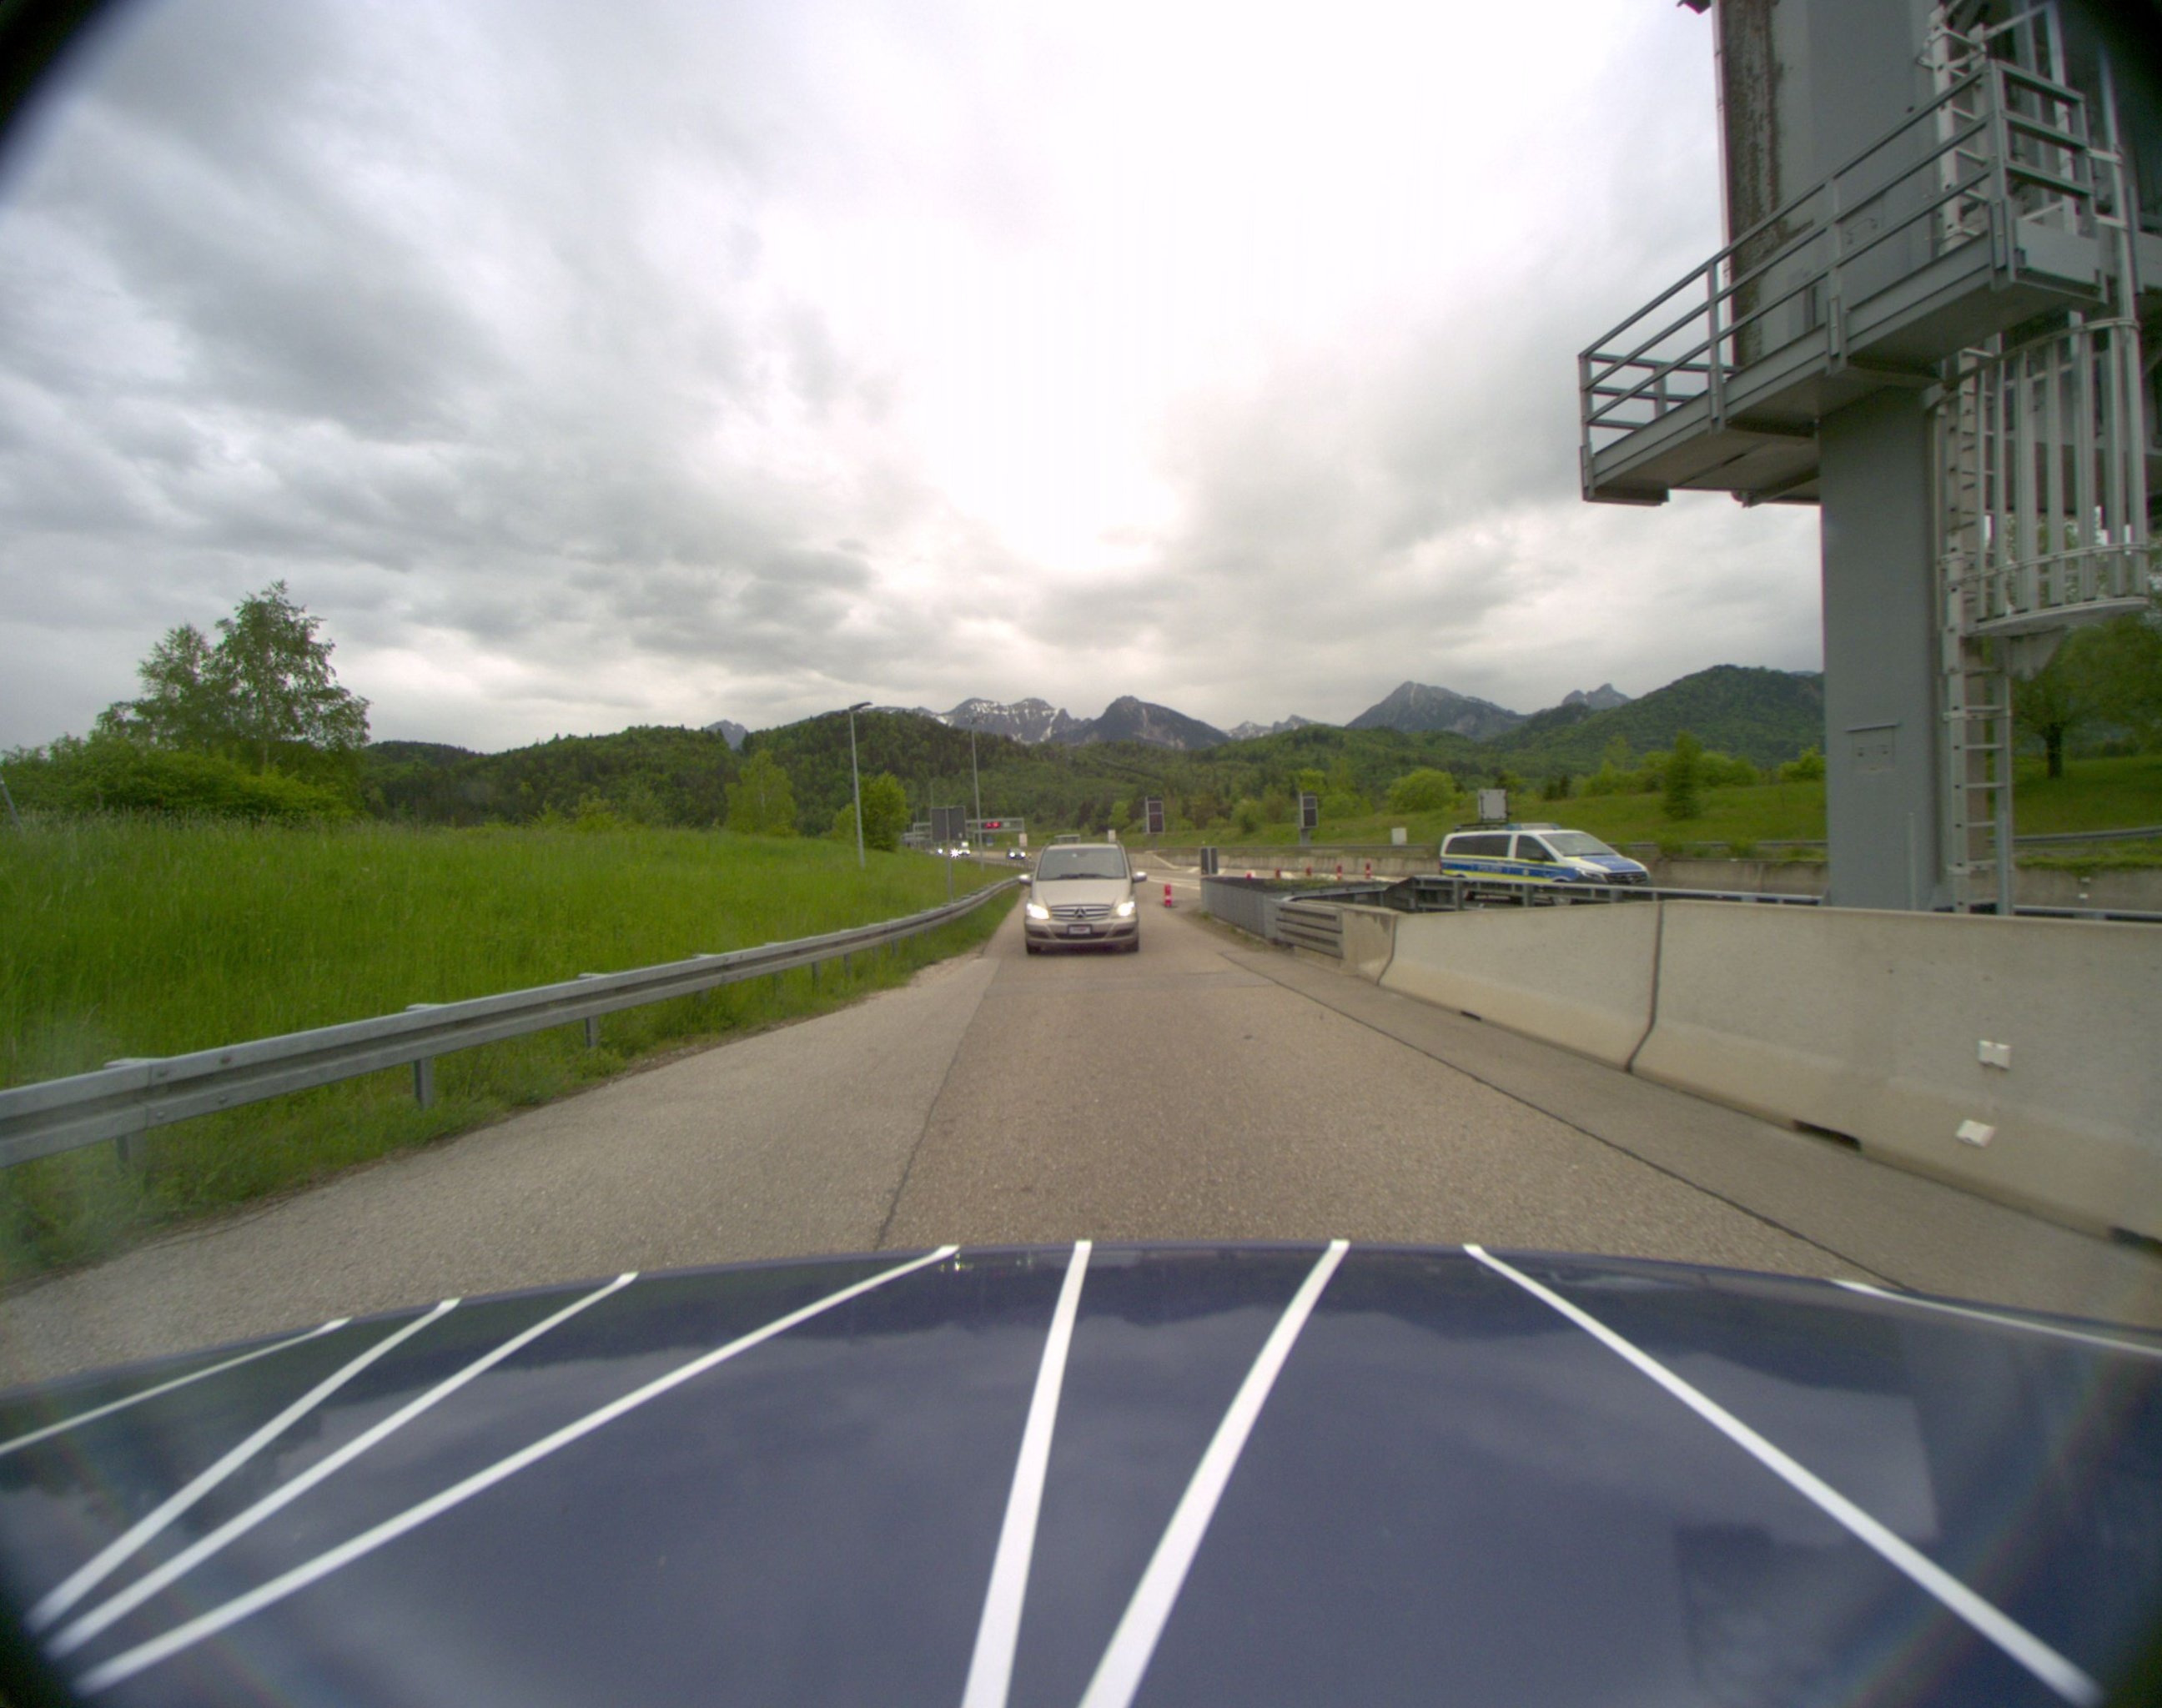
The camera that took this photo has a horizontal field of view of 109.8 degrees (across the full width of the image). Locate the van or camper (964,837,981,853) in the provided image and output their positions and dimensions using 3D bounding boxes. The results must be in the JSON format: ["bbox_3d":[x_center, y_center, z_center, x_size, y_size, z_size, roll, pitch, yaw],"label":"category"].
[{"bbox_3d":[-23.338,-1.881,163.175,2.585,3.372,7.345,-2,1,-15],"label":"van or camper"}]

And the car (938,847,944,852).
[{"bbox_3d":[-44.630,-1.479,241.787,1.722,1.629,4.342,-1,1,-14],"label":"car"}]

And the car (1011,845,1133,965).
[{"bbox_3d":[0.056,0.773,14.626,1.861,1.833,5.618,-1,1,4],"label":"car"}]

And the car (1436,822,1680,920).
[{"bbox_3d":[11.308,0.330,18.571,2.106,2.002,5.046,-2,1,-13],"label":"car"}]

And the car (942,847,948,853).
[{"bbox_3d":[-43.315,-1.321,241.351,1.868,1.861,3.995,-1,1,-11],"label":"car"}]

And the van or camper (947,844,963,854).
[{"bbox_3d":[-31.860,-1.240,191.626,3.345,2.629,8.190,-2,0,-14],"label":"van or camper"}]

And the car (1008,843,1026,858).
[{"bbox_3d":[-7.963,-0.397,93.929,1.767,1.758,3.996,-1,1,-11],"label":"car"}]

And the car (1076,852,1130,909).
[{"bbox_3d":[0.700,0.802,24.710,1.591,1.662,4.000,-1,0,1],"label":"car"}]
